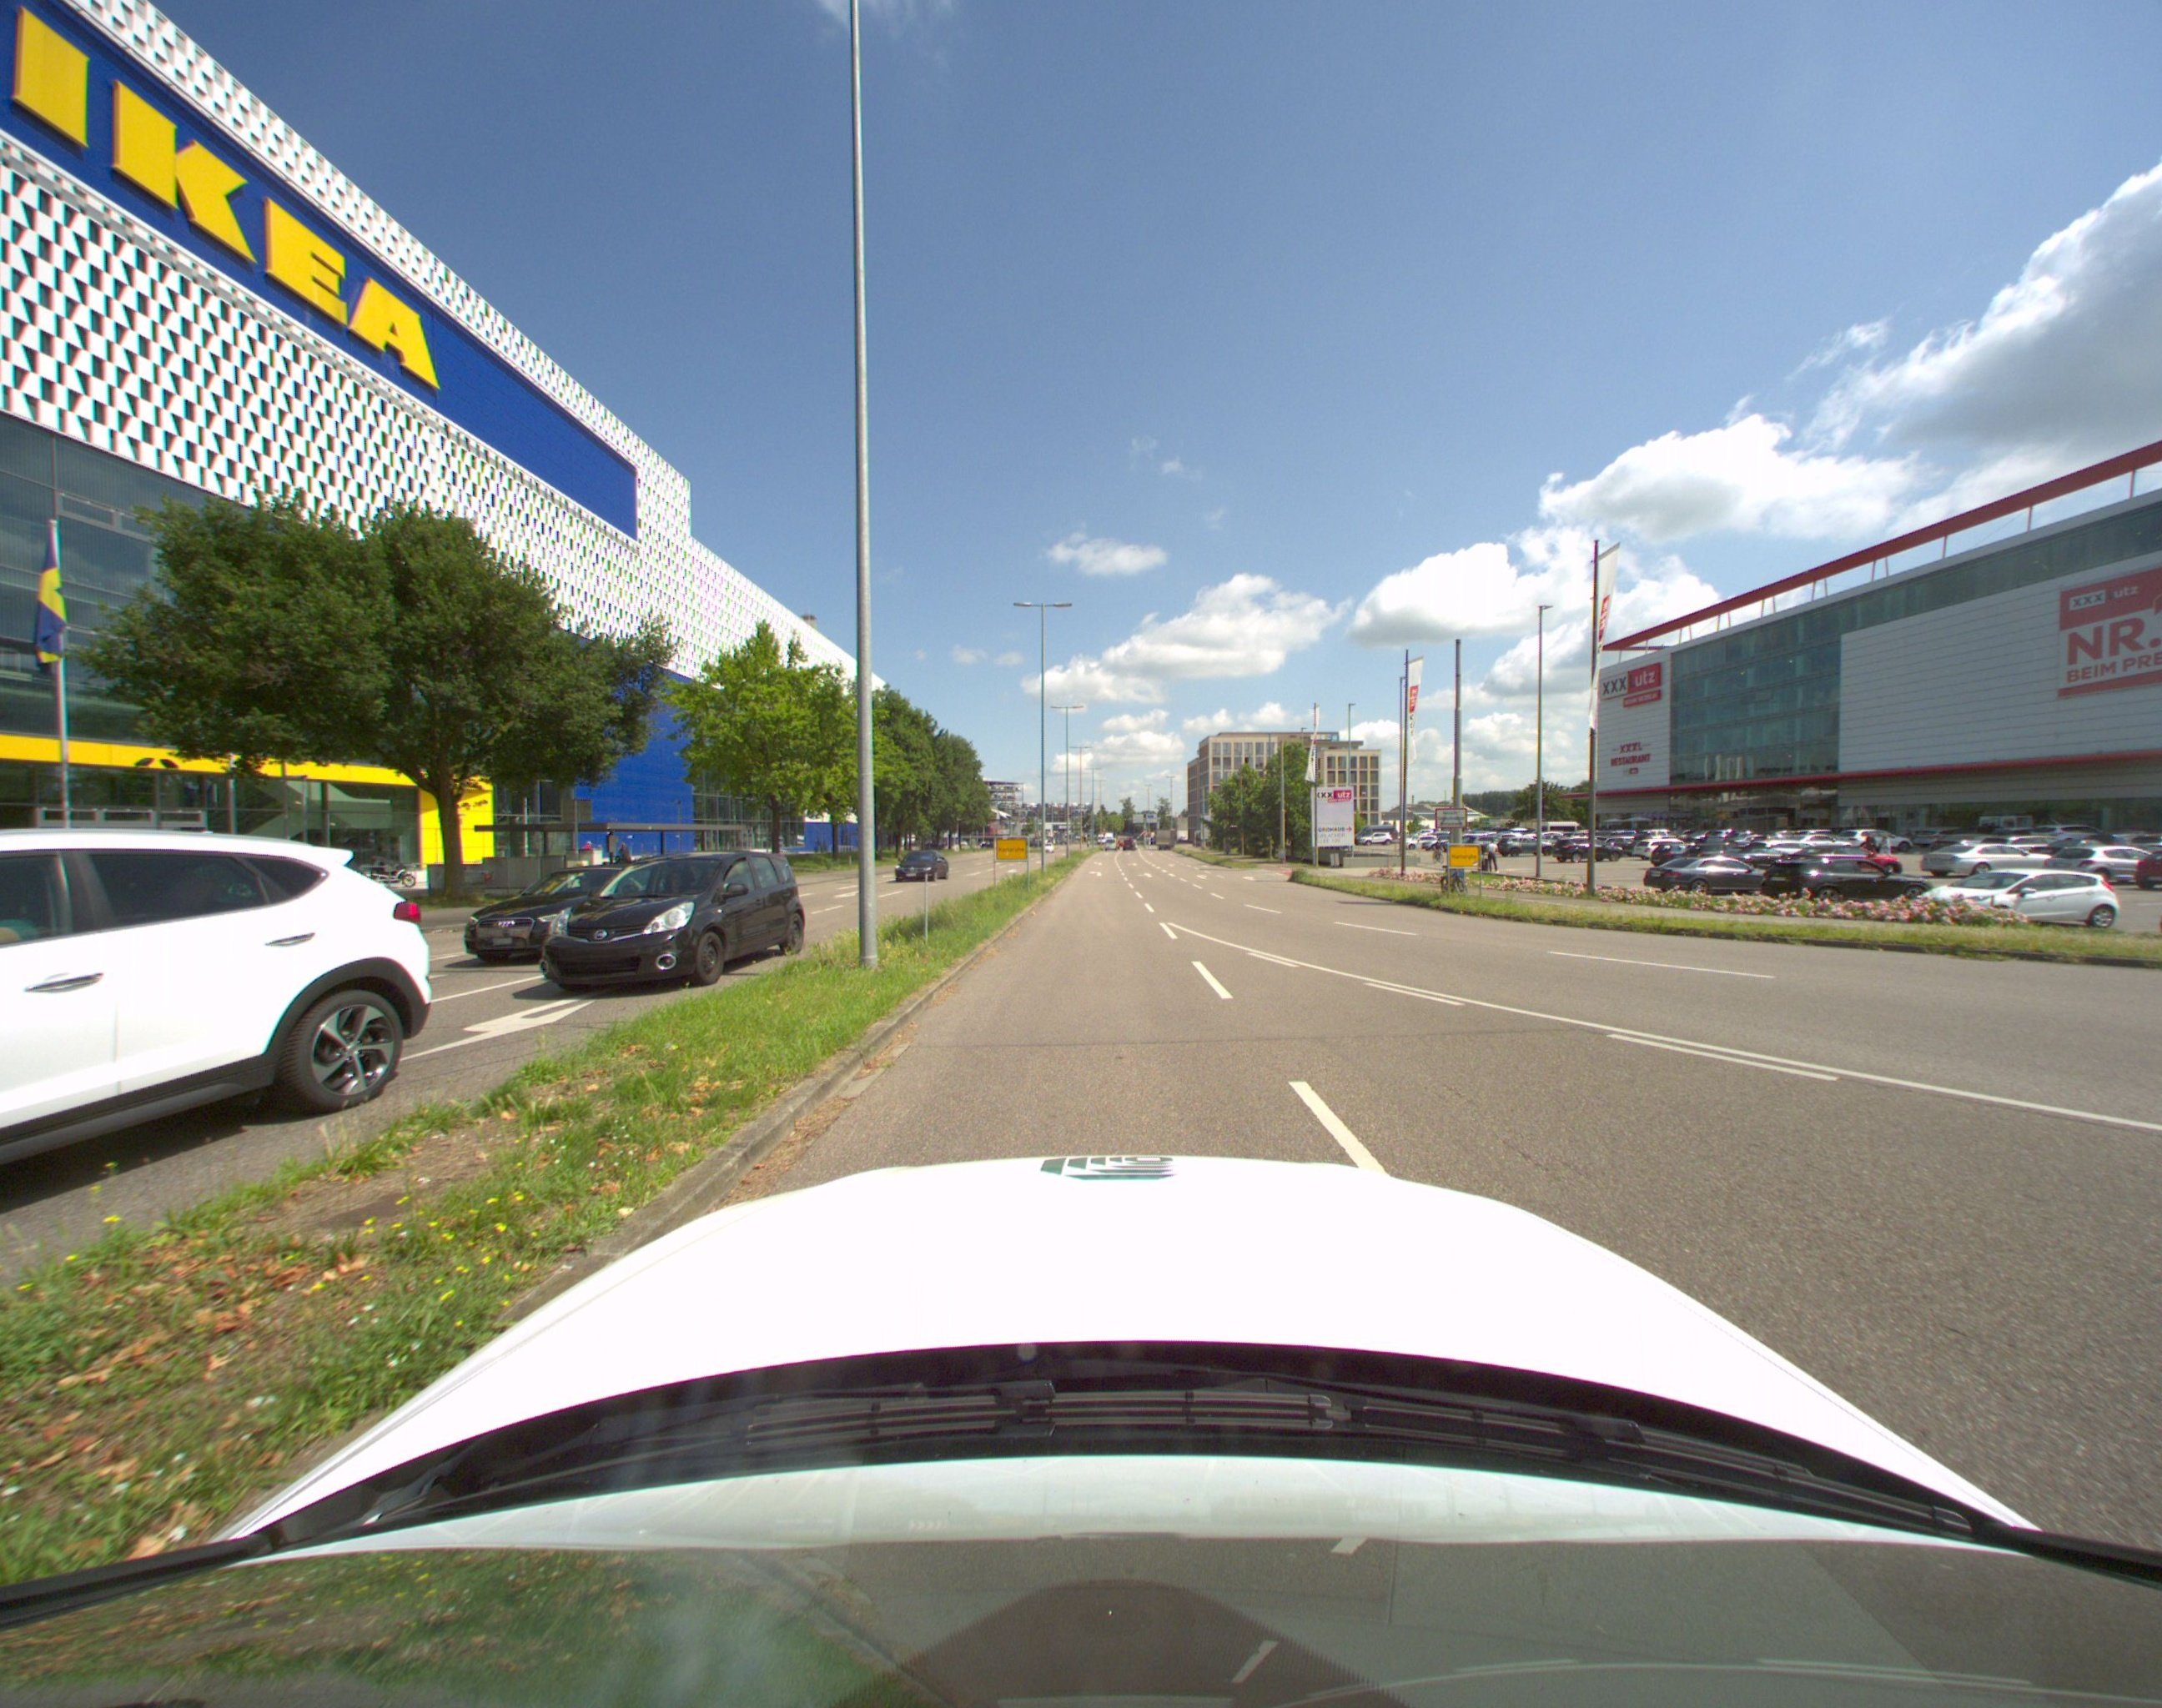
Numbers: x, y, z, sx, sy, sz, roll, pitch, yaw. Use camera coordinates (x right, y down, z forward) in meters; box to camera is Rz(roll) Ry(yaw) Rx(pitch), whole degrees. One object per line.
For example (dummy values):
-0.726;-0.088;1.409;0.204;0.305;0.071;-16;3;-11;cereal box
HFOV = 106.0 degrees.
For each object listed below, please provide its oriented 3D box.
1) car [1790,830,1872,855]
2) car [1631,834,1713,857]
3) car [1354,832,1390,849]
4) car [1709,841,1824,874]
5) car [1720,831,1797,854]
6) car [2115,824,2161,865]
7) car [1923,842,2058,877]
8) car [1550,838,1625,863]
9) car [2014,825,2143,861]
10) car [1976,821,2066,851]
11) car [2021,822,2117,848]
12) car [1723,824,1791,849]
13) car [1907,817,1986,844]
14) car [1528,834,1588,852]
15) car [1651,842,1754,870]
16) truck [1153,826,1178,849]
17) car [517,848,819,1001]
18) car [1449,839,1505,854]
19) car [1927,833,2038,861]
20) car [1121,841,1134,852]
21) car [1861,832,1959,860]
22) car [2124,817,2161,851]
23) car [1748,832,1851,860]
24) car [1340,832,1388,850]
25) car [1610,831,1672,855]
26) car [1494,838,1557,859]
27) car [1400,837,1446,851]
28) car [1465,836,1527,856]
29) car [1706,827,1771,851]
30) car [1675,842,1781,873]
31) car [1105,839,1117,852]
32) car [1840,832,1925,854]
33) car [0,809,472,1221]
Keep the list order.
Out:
50.812;-0.783;55.201;4.142;1.511;1.705;-2;2;-3;car
40.451;-0.596;55.806;4.273;1.427;1.760;0;3;1;car
37.200;-1.738;104.175;3.972;2.013;2.001;-2;1;2;car
34.576;0.145;41.147;4.340;1.508;1.684;-2;1;3;car
50.640;-0.894;60.912;4.211;1.587;1.853;-2;2;-1;car
55.358;-0.462;41.010;3.971;2.013;2.001;0;0;2;car
39.759;0.234;35.668;4.007;1.362;1.604;-2;2;3;car
34.562;-0.248;55.629;4.043;1.531;1.741;-2;1;-2;car
50.512;-0.539;41.306;3.970;1.739;2.002;0;0;3;car
66.155;-1.279;57.364;3.974;2.013;2.000;0;2;0;car
66.116;-1.286;54.537;3.974;1.723;2.000;0;2;0;car
56.523;-1.498;68.134;3.972;2.013;2.001;0;2;1;car
66.293;-1.796;62.411;3.974;2.013;2.000;0;2;0;car
41.542;-0.953;70.938;4.225;1.464;1.760;-1;0;0;car
34.938;0.088;45.840;4.340;1.362;1.849;-2;2;3;car
15.414;-3.021;147.471;3.107;3.940;8.895;1;2;15;truck
-4.853;0.697;10.323;1.598;1.493;4.133;-2;0;1;car
36.774;-0.704;75.656;4.344;1.325;1.765;-2;2;0;car
50.510;-0.386;45.686;3.972;1.508;2.001;-1;0;2;car
7.599;-1.240;133.508;1.810;1.808;4.008;1;1;7;car
48.570;-0.493;47.749;4.002;1.587;1.695;0;2;0;car
65.782;-1.185;48.765;3.972;2.013;2.001;0;2;1;car
40.501;-0.490;45.978;4.133;1.508;1.827;0;2;2;car
37.312;-1.706;107.390;5.640;2.366;2.061;-1;0;-1;car
48.515;-0.964;70.576;3.972;2.013;2.001;-1;0;1;car
35.997;-0.489;65.958;4.168;1.552;1.765;-2;2;0;car
36.909;-1.099;87.852;4.172;1.389;1.892;-2;2;-2;car
35.893;-0.741;70.575;4.344;1.574;2.030;-2;2;0;car
57.109;-1.299;70.781;3.972;2.013;2.001;0;2;1;car
34.709;0.174;43.731;4.340;1.442;1.628;-2;2;3;car
4.738;-1.351;128.256;1.849;2.018;4.003;1;2;2;car
56.509;-0.795;57.473;4.324;1.511;1.706;0;2;0;car
-5.122;0.662;3.451;1.702;1.619;4.378;-2;0;1;car
